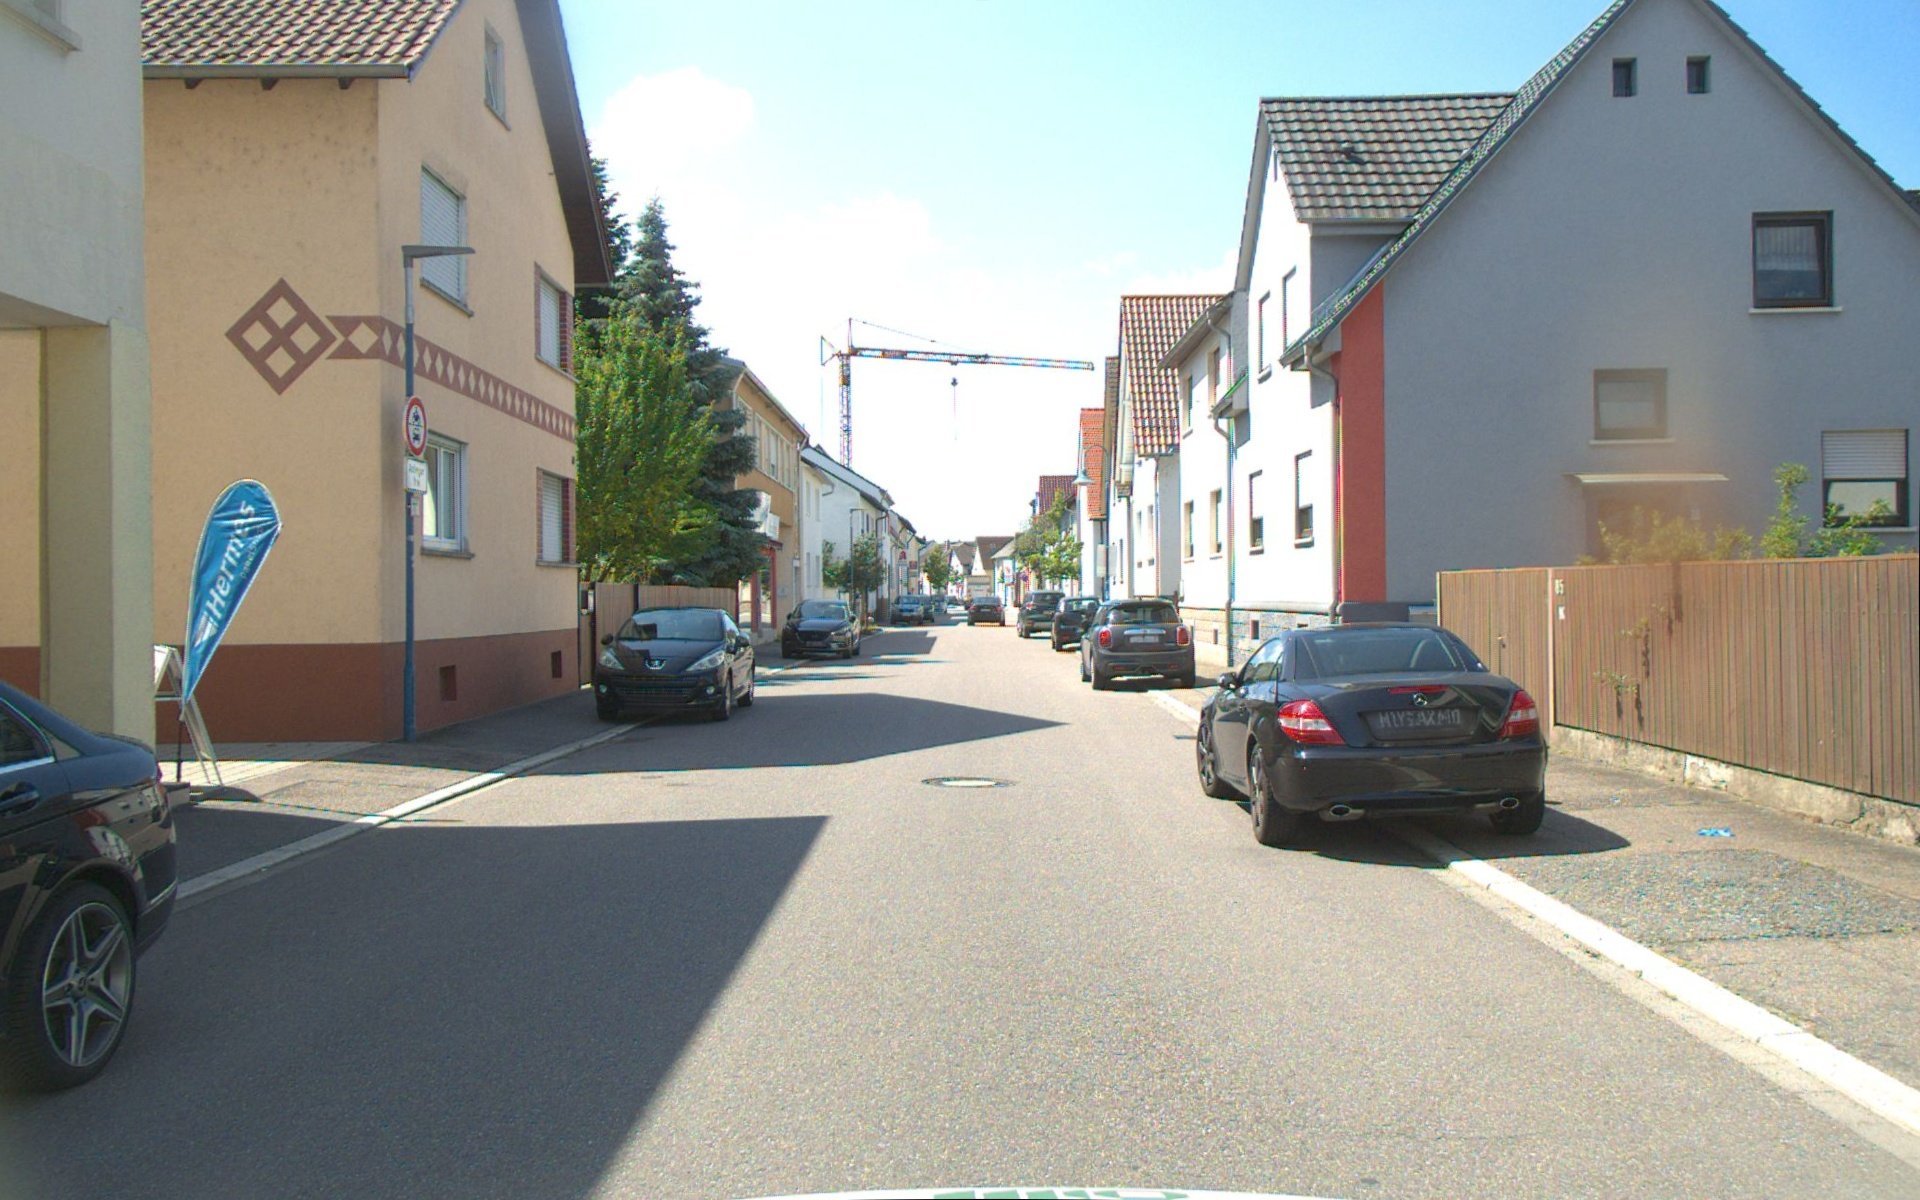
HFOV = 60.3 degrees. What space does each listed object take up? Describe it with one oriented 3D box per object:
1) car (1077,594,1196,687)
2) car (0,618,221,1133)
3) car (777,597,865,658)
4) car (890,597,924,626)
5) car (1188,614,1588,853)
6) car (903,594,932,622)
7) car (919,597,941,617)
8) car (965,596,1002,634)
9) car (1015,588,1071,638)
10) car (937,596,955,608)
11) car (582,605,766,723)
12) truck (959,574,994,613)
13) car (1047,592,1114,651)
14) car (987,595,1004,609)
[{"bbox_3d":[2.932,0.644,28.105,1.653,1.447,3.657,-1,0,0],"label":"car"},{"bbox_3d":[-3.562,0.797,3.849,1.662,1.436,4.390,0,0,1],"label":"car"},{"bbox_3d":[-3.551,0.681,42.954,1.731,1.485,4.437,-1,0,2],"label":"car"},{"bbox_3d":[-2.941,0.605,92.325,1.722,1.551,4.289,-1,0,0],"label":"car"},{"bbox_3d":[2.721,0.779,11.490,1.778,1.298,4.147,0,0,1],"label":"car"},{"bbox_3d":[-2.527,0.455,99.084,1.619,1.637,4.061,-1,0,0],"label":"car"},{"bbox_3d":[-2.478,0.551,138.450,1.687,1.583,4.172,1,0,1],"label":"car"},{"bbox_3d":[1.161,0.748,82.890,1.746,1.784,3.999,-2,0,-1],"label":"car"},{"bbox_3d":[2.991,0.451,60.341,1.694,1.747,4.274,-1,0,-2],"label":"car"},{"bbox_3d":[-2.124,0.357,254.846,1.791,1.784,4.211,-1,0,-15],"label":"car"},{"bbox_3d":[-3.707,0.781,22.097,1.725,1.398,4.066,0,0,0],"label":"car"},{"bbox_3d":[1.736,-0.625,178.096,3.310,3.933,13.923,-2,0,-1],"label":"truck"},{"bbox_3d":[3.422,0.590,47.566,1.584,1.522,3.972,-3,0,0],"label":"car"},{"bbox_3d":[4.229,0.223,198.311,1.747,1.591,4.335,-2,0,-1],"label":"car"}]
